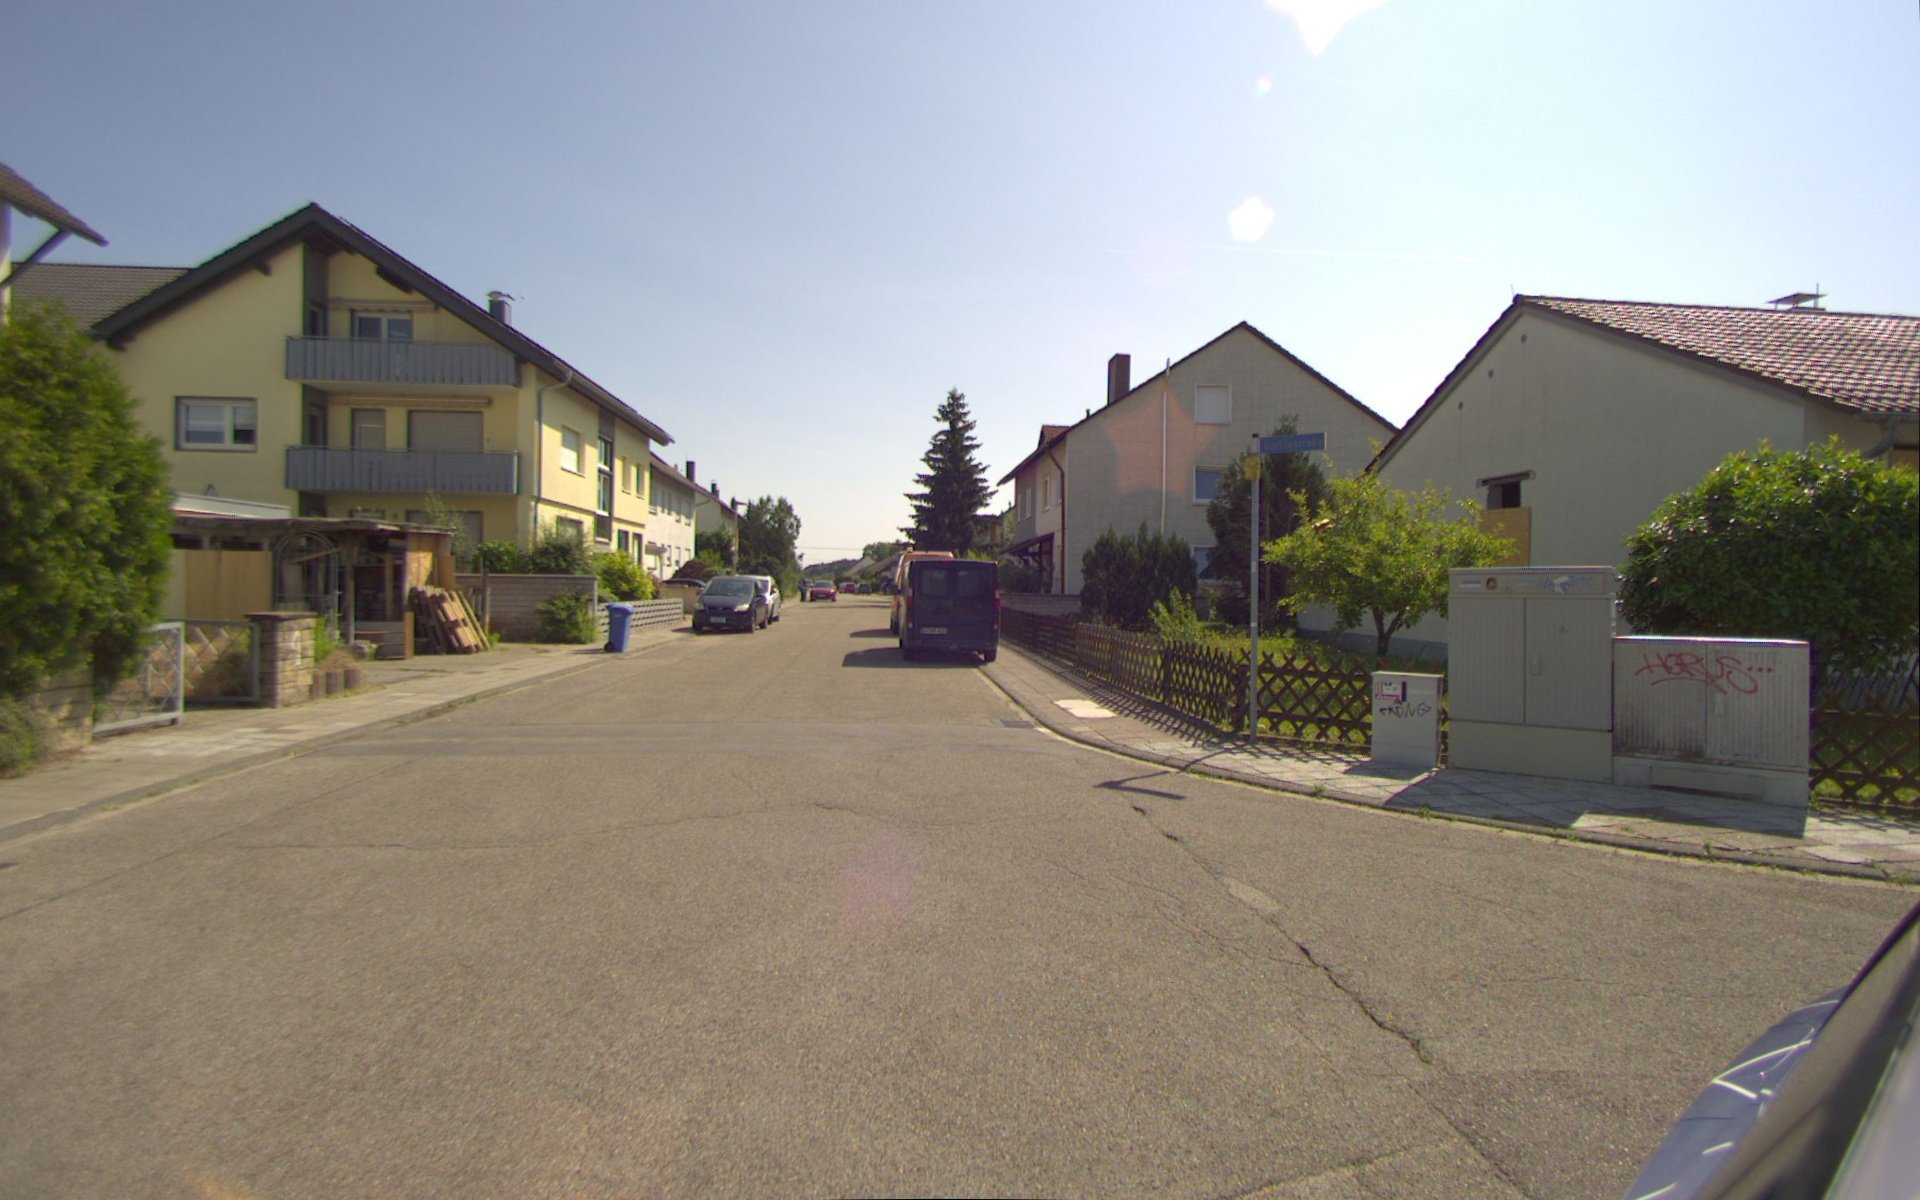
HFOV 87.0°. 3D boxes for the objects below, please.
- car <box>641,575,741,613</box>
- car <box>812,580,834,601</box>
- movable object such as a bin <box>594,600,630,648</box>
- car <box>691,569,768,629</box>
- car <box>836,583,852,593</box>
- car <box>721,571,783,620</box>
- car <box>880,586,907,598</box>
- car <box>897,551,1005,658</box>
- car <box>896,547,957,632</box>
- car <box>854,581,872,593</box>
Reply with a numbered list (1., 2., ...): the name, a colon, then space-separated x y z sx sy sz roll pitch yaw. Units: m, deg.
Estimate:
1. car: -12.080 -0.276 45.564 4.092 1.639 1.877 0 -1 -5
2. car: -9.779 -0.695 72.217 1.487 1.424 3.682 -1 0 -8
3. movable object such as a bin: -7.011 0.480 20.403 0.573 0.928 0.599 0 1 -6
4. car: -6.756 -0.048 30.029 1.601 1.646 4.003 0 1 -4
5. car: -15.552 -1.587 135.914 1.674 1.357 4.007 0 0 -13
6. car: -7.306 -0.181 35.779 1.601 1.646 4.003 0 1 -4
7. car: -8.710 -1.055 133.185 3.344 1.549 1.641 0 1 -11
8. car: -0.287 0.034 20.749 1.833 1.962 4.209 0 1 -6
9. car: -1.050 -0.340 30.131 1.525 2.352 4.209 0 1 -6
10. car: -11.877 -1.538 123.626 1.674 1.357 4.007 0 0 -13
